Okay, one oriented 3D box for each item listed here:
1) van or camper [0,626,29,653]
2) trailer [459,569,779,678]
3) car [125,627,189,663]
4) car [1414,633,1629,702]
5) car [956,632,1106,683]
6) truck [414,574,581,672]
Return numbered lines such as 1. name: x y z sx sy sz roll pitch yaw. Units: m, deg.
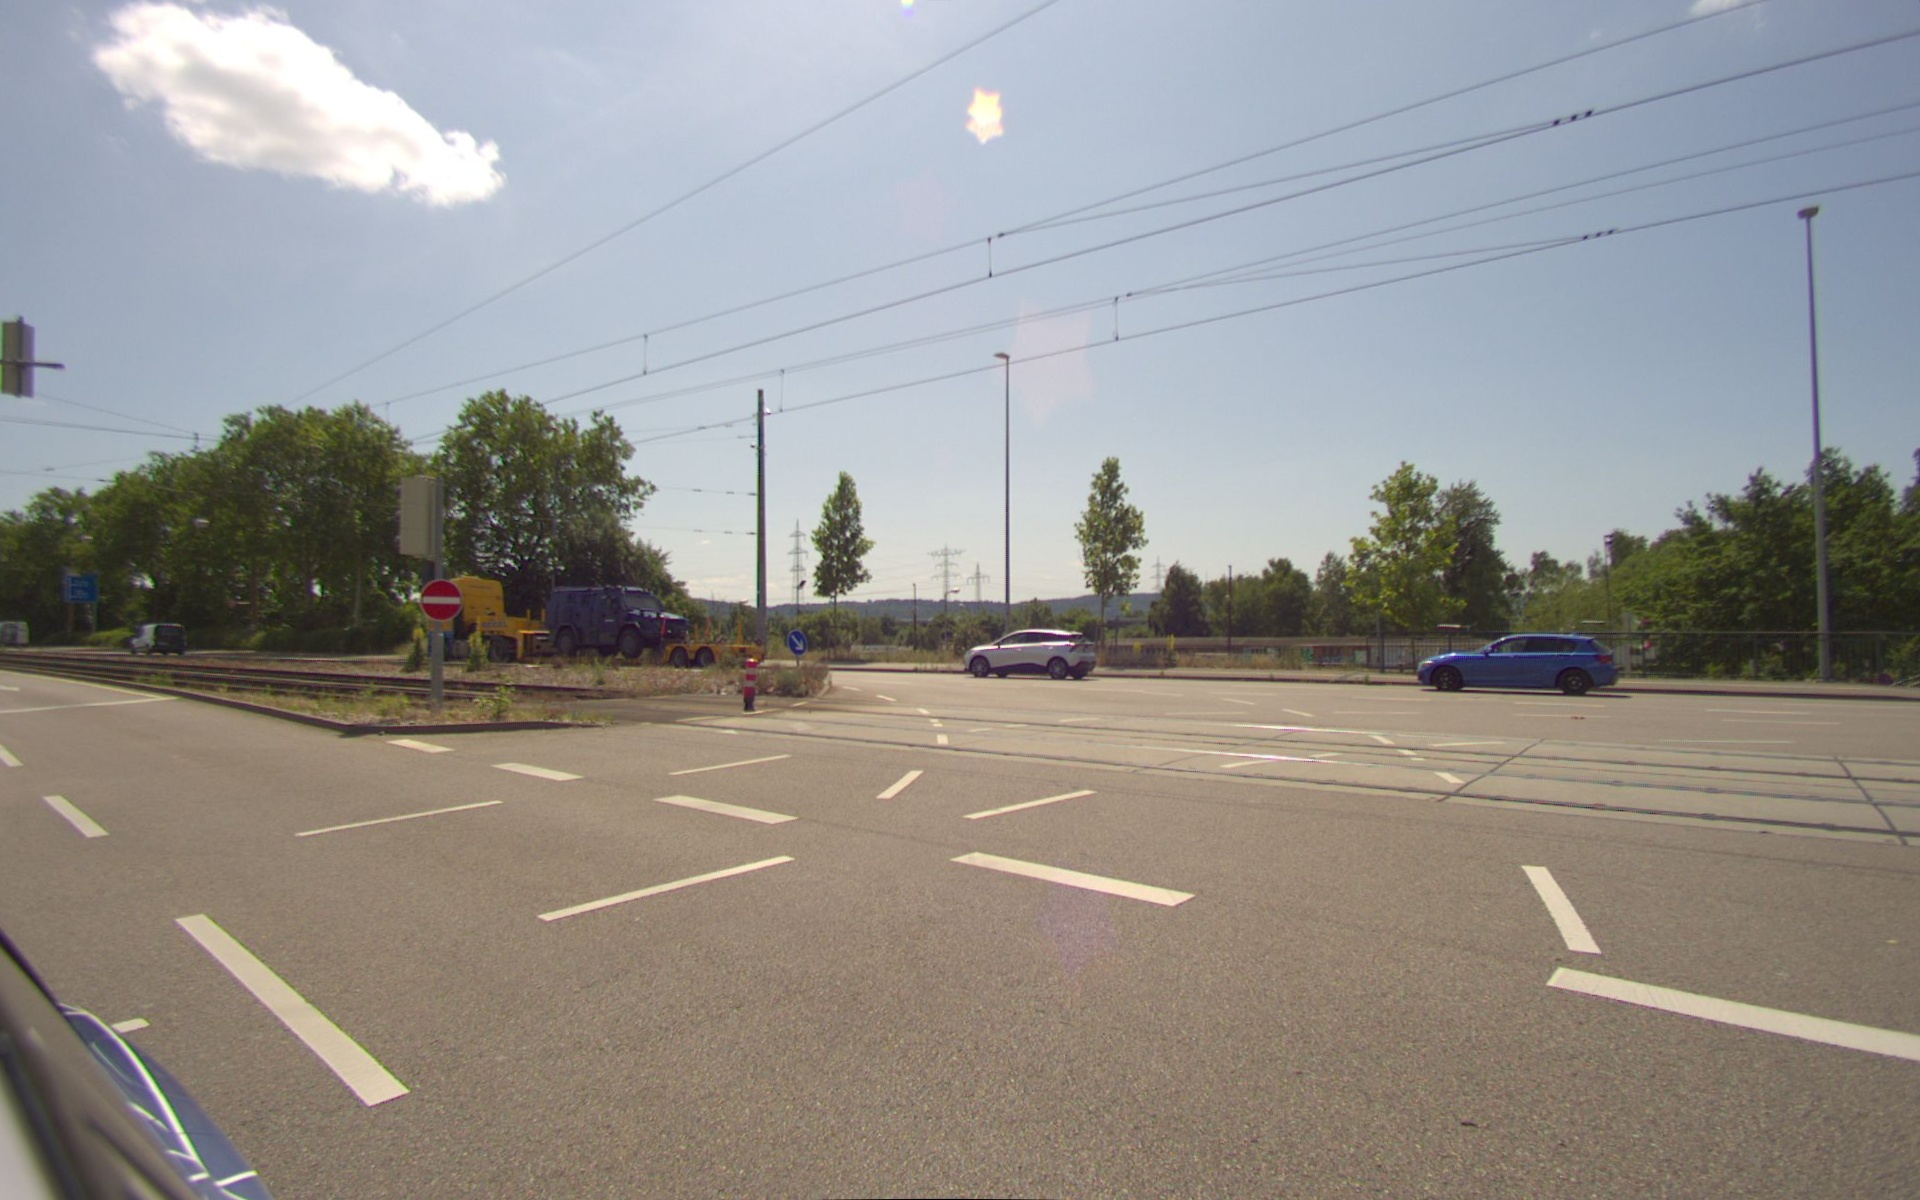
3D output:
1. van or camper: -92.837 3.837 98.476 5.828 2.606 1.977 -2 -3 34
2. trailer: -14.375 1.159 41.413 15.422 3.900 3.093 -3 -2 31
3. car: -47.596 2.701 59.971 4.426 1.852 1.974 -6 -6 38
4. car: 13.529 1.585 24.468 4.339 1.456 1.976 -2 -1 35
5. car: 2.202 1.793 31.690 4.260 1.474 1.980 -2 -2 30
6. truck: -20.736 1.059 45.266 7.446 4.070 3.103 -2 -2 31
